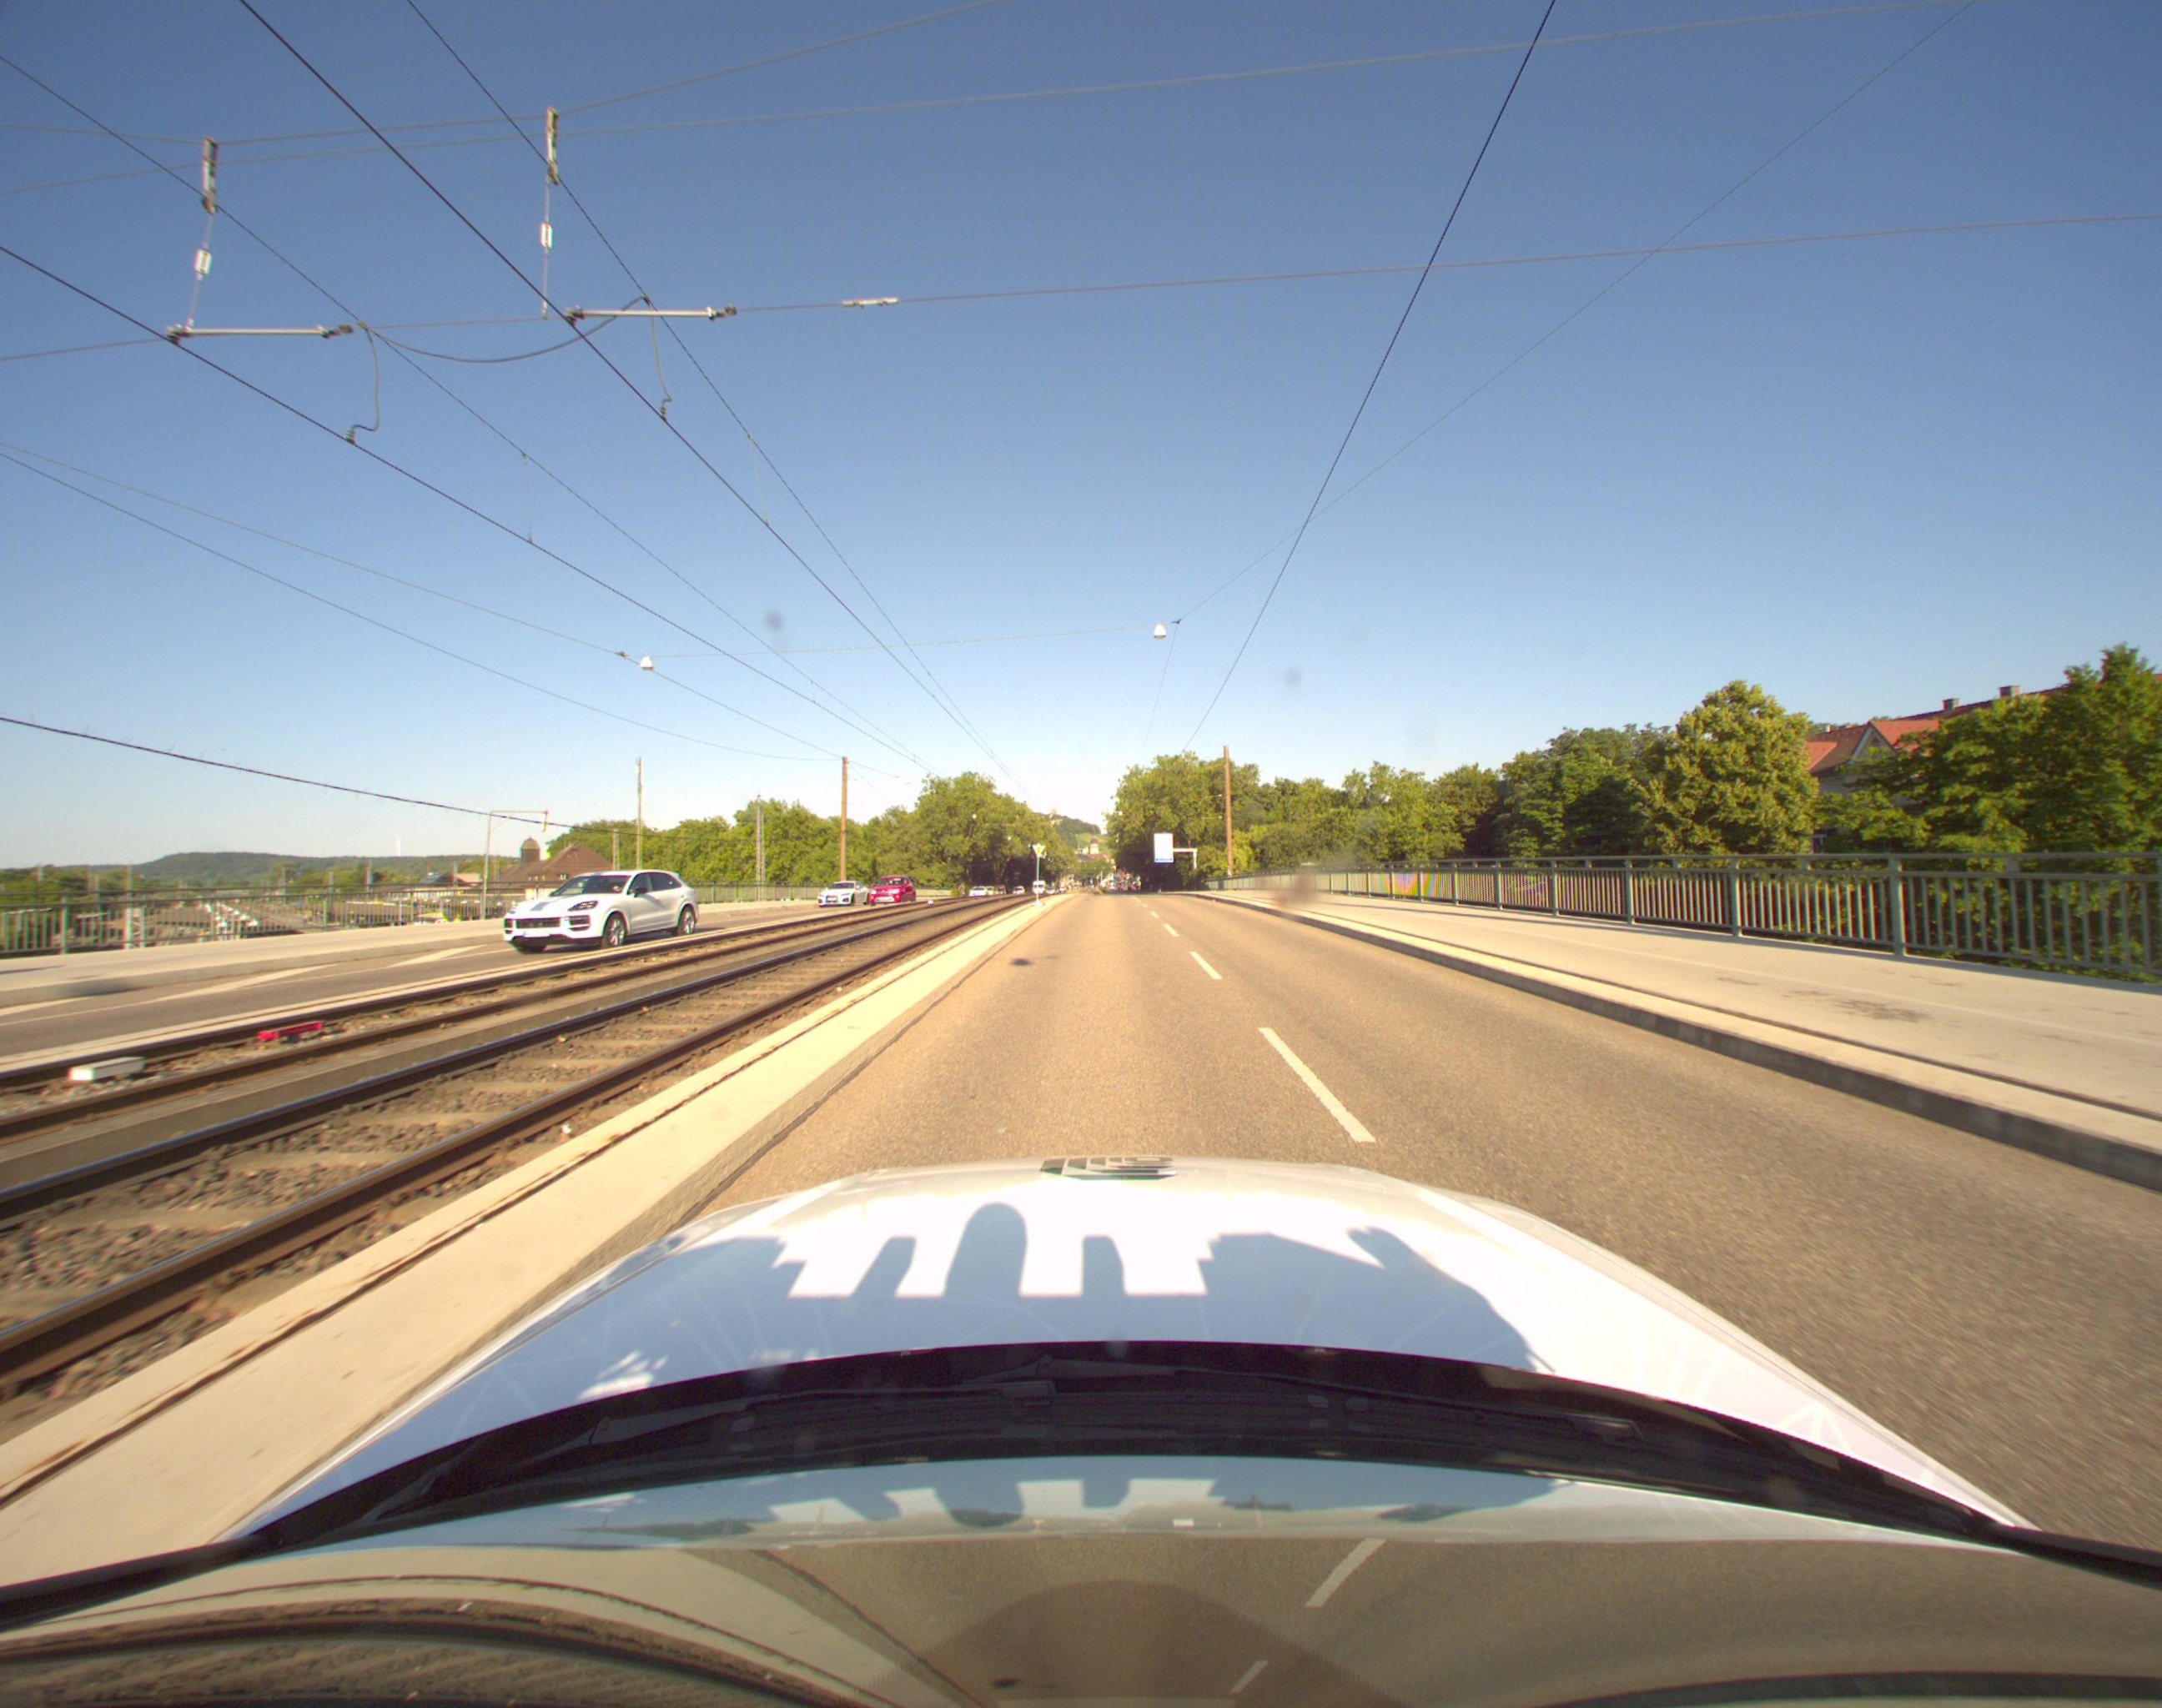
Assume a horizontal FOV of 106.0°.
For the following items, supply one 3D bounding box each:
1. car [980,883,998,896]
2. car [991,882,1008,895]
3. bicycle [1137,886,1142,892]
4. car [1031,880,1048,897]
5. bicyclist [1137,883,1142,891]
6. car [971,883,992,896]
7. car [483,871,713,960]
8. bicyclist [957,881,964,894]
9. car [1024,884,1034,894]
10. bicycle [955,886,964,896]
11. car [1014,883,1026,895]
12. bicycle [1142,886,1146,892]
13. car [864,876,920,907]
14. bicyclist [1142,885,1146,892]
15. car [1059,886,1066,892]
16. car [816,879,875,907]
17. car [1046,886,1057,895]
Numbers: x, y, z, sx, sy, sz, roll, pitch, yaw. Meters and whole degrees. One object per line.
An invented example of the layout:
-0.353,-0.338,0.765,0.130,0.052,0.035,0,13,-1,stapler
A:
-11.266,4.360,99.441,1.627,1.531,3.791,-2,-2,2,car
-10.972,4.664,110.195,1.735,1.754,4.684,-1,-2,1,car
14.530,8.725,202.617,0.885,1.321,2.636,-2,-3,-3,bicycle
-6.988,5.824,137.984,2.077,2.593,6.045,-3,-2,4,car
14.546,8.240,202.512,0.885,1.775,1.220,-2,-3,-4,bicyclist
-11.440,4.038,93.584,1.735,1.464,4.955,-1,-2,1,car
-10.476,1.234,18.265,1.993,1.637,5.091,-1,-1,2,car
-14.643,4.054,98.866,0.677,1.627,0.890,1,-2,2,bicyclist
-9.752,6.579,153.457,1.738,1.637,3.995,-2,-2,-3,car
-14.655,4.490,98.639,0.677,1.098,2.101,1,-2,2,bicycle
-10.354,5.909,138.283,1.736,1.743,4.512,-5,-2,-1,car
15.357,8.579,198.035,0.883,1.321,2.640,-2,-3,2,bicycle
-9.687,1.923,42.001,1.801,1.520,4.000,0,-3,2,car
15.356,8.337,198.146,0.883,1.639,1.164,-2,-3,2,bicyclist
-5.746,10.920,254.242,1.988,1.845,5.297,0,-2,-1,car
-13.043,2.121,45.354,1.677,1.356,4.921,-1,-1,2,car
-6.197,7.522,169.115,1.865,1.665,4.599,-2,-2,2,car
